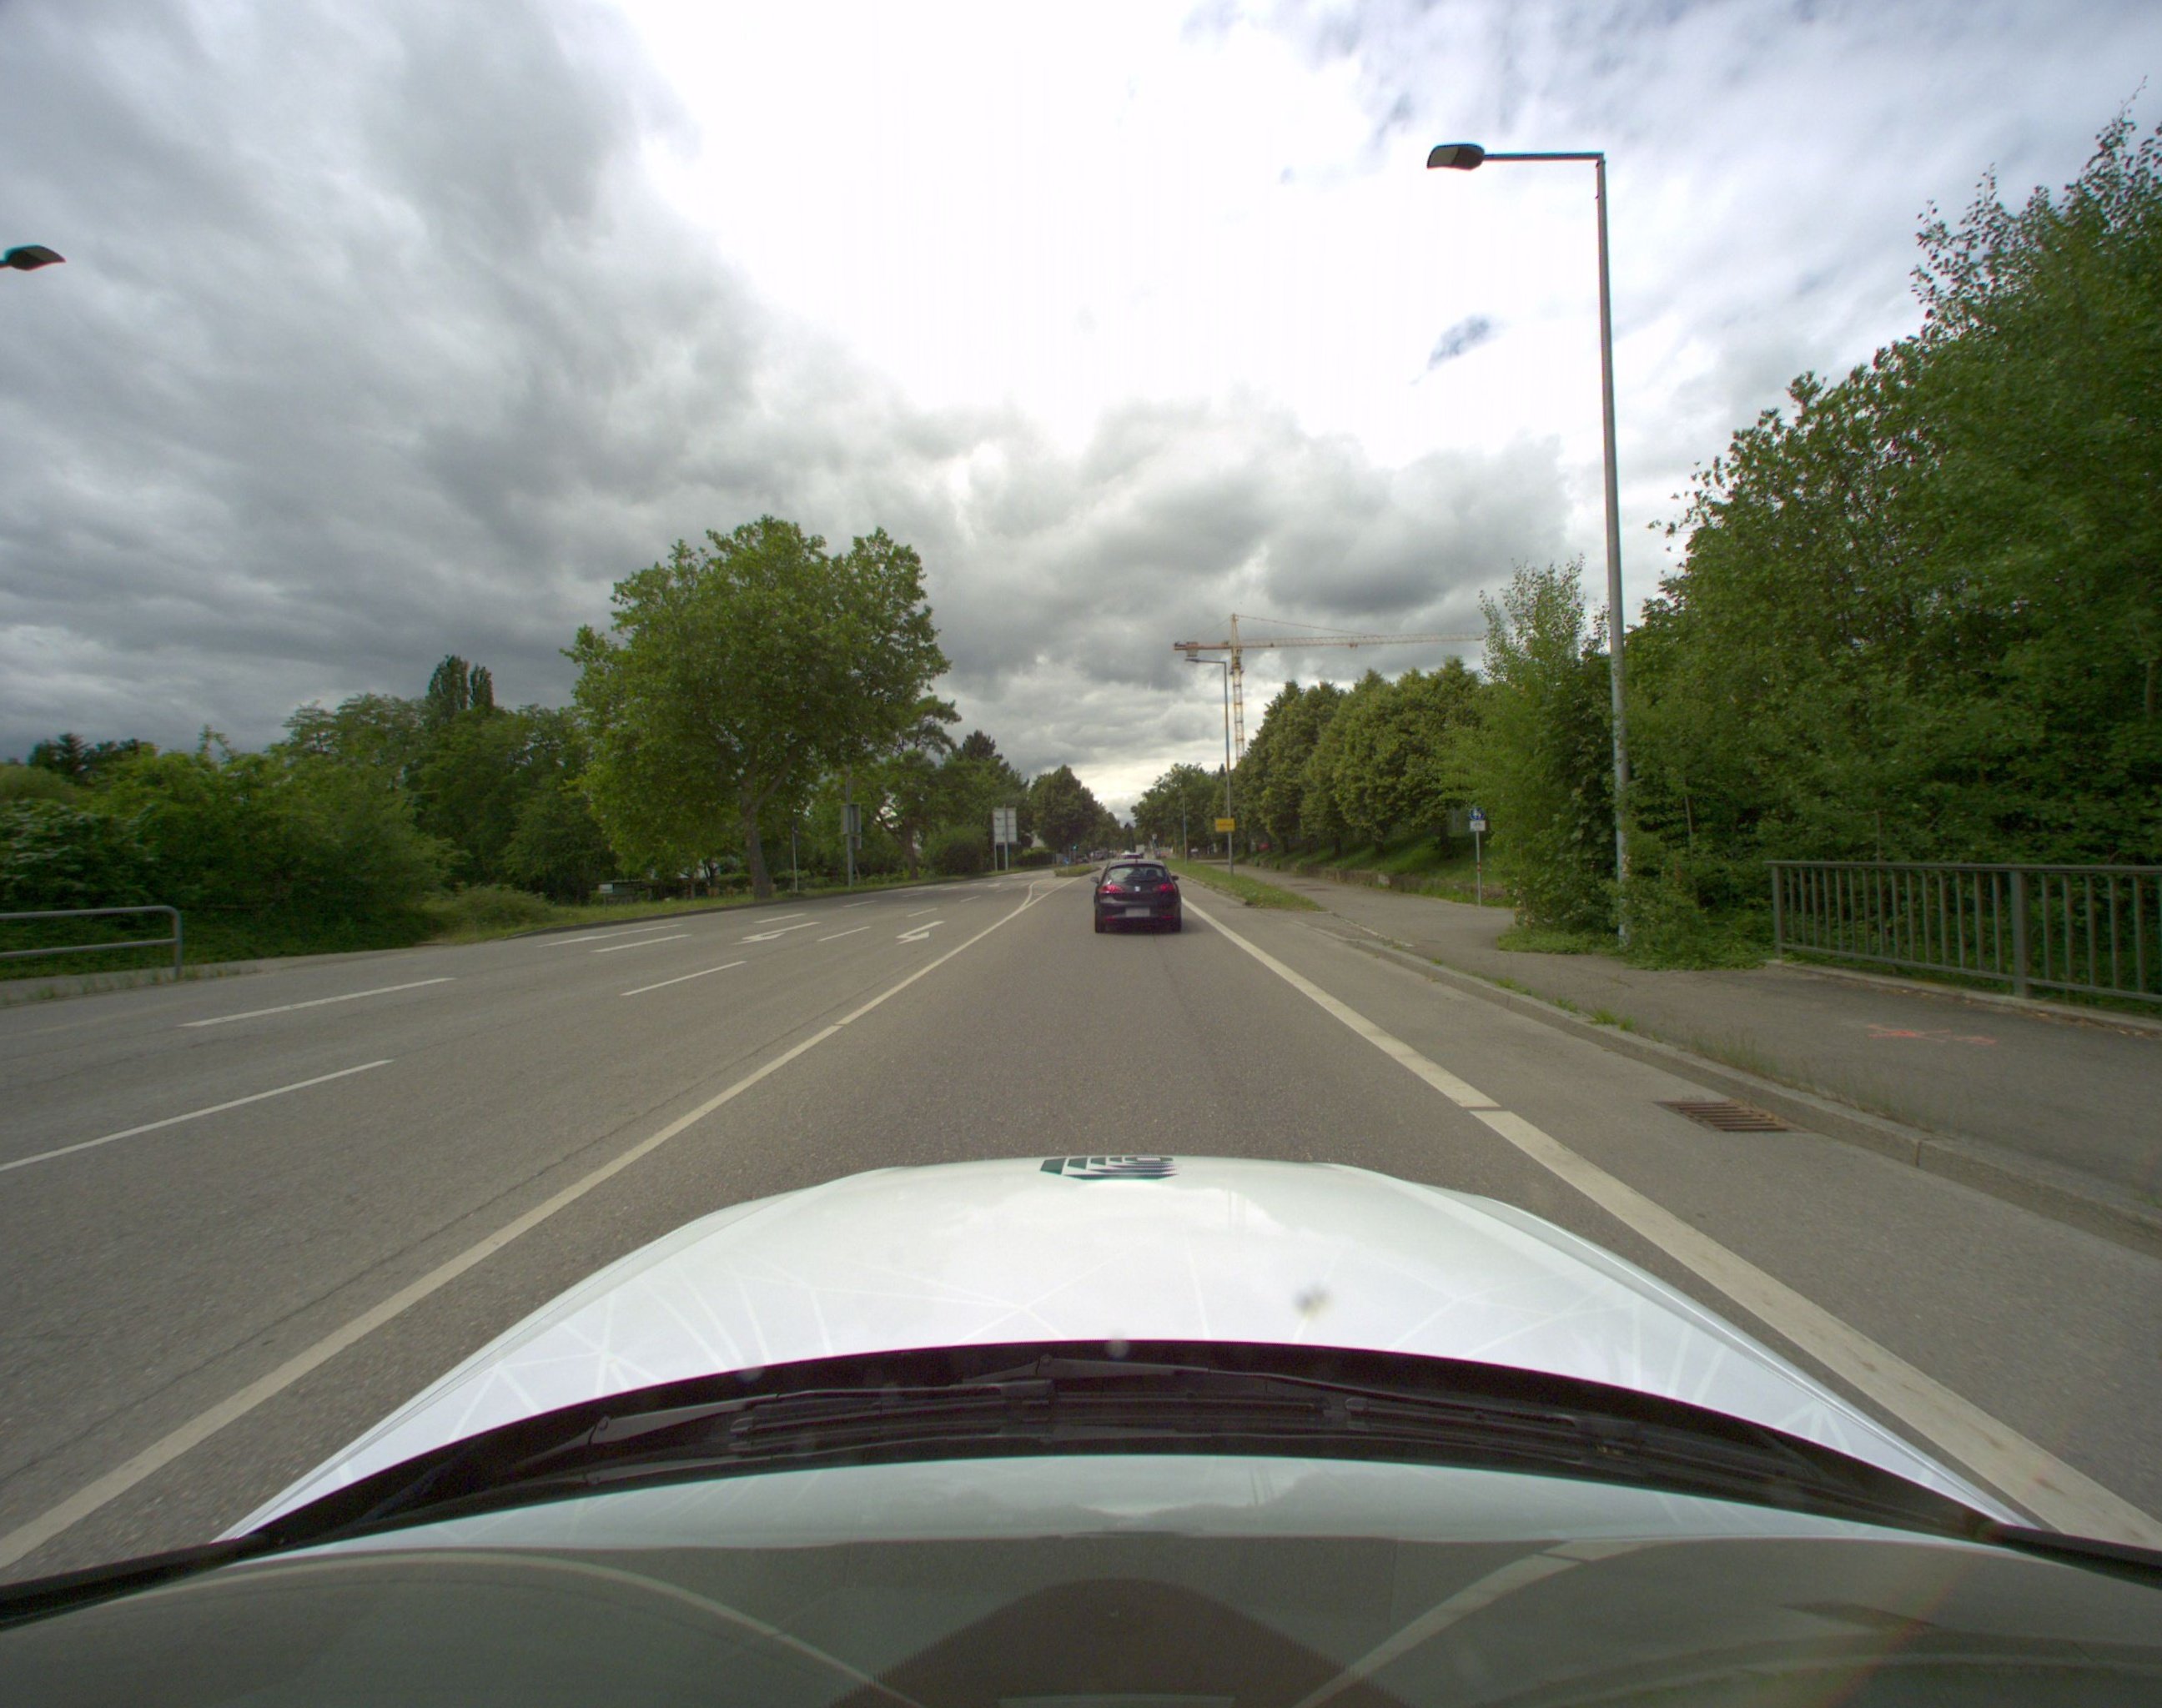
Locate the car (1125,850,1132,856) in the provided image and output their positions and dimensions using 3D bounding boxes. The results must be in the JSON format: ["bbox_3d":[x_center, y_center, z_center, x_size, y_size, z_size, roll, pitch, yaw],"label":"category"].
[{"bbox_3d":[14.200,-0.302,243.080,1.865,1.635,4.349,-4,0,7],"label":"car"}]

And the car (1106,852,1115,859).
[{"bbox_3d":[7.898,0.386,215.936,2.090,1.506,5.791,-4,0,5],"label":"car"}]

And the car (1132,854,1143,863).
[{"bbox_3d":[10.887,0.864,156.476,1.873,1.689,4.219,-2,0,5],"label":"car"}]

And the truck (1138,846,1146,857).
[{"bbox_3d":[17.332,-0.800,232.149,2.268,3.104,8.520,0,0,4],"label":"truck"}]

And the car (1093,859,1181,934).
[{"bbox_3d":[1.183,0.823,17.359,1.656,1.401,3.815,-1,0,3],"label":"car"}]

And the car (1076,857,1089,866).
[{"bbox_3d":[0.244,1.191,129.763,1.710,1.395,4.807,-4,0,5],"label":"car"}]

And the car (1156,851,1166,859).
[{"bbox_3d":[14.918,0.149,152.473,1.680,1.490,3.359,-2,0,5],"label":"car"}]

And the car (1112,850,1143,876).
[{"bbox_3d":[2.918,0.544,50.598,1.838,1.510,3.815,-1,0,3],"label":"car"}]

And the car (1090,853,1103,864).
[{"bbox_3d":[3.057,0.850,158.960,2.090,1.896,5.791,-4,0,5],"label":"car"}]
